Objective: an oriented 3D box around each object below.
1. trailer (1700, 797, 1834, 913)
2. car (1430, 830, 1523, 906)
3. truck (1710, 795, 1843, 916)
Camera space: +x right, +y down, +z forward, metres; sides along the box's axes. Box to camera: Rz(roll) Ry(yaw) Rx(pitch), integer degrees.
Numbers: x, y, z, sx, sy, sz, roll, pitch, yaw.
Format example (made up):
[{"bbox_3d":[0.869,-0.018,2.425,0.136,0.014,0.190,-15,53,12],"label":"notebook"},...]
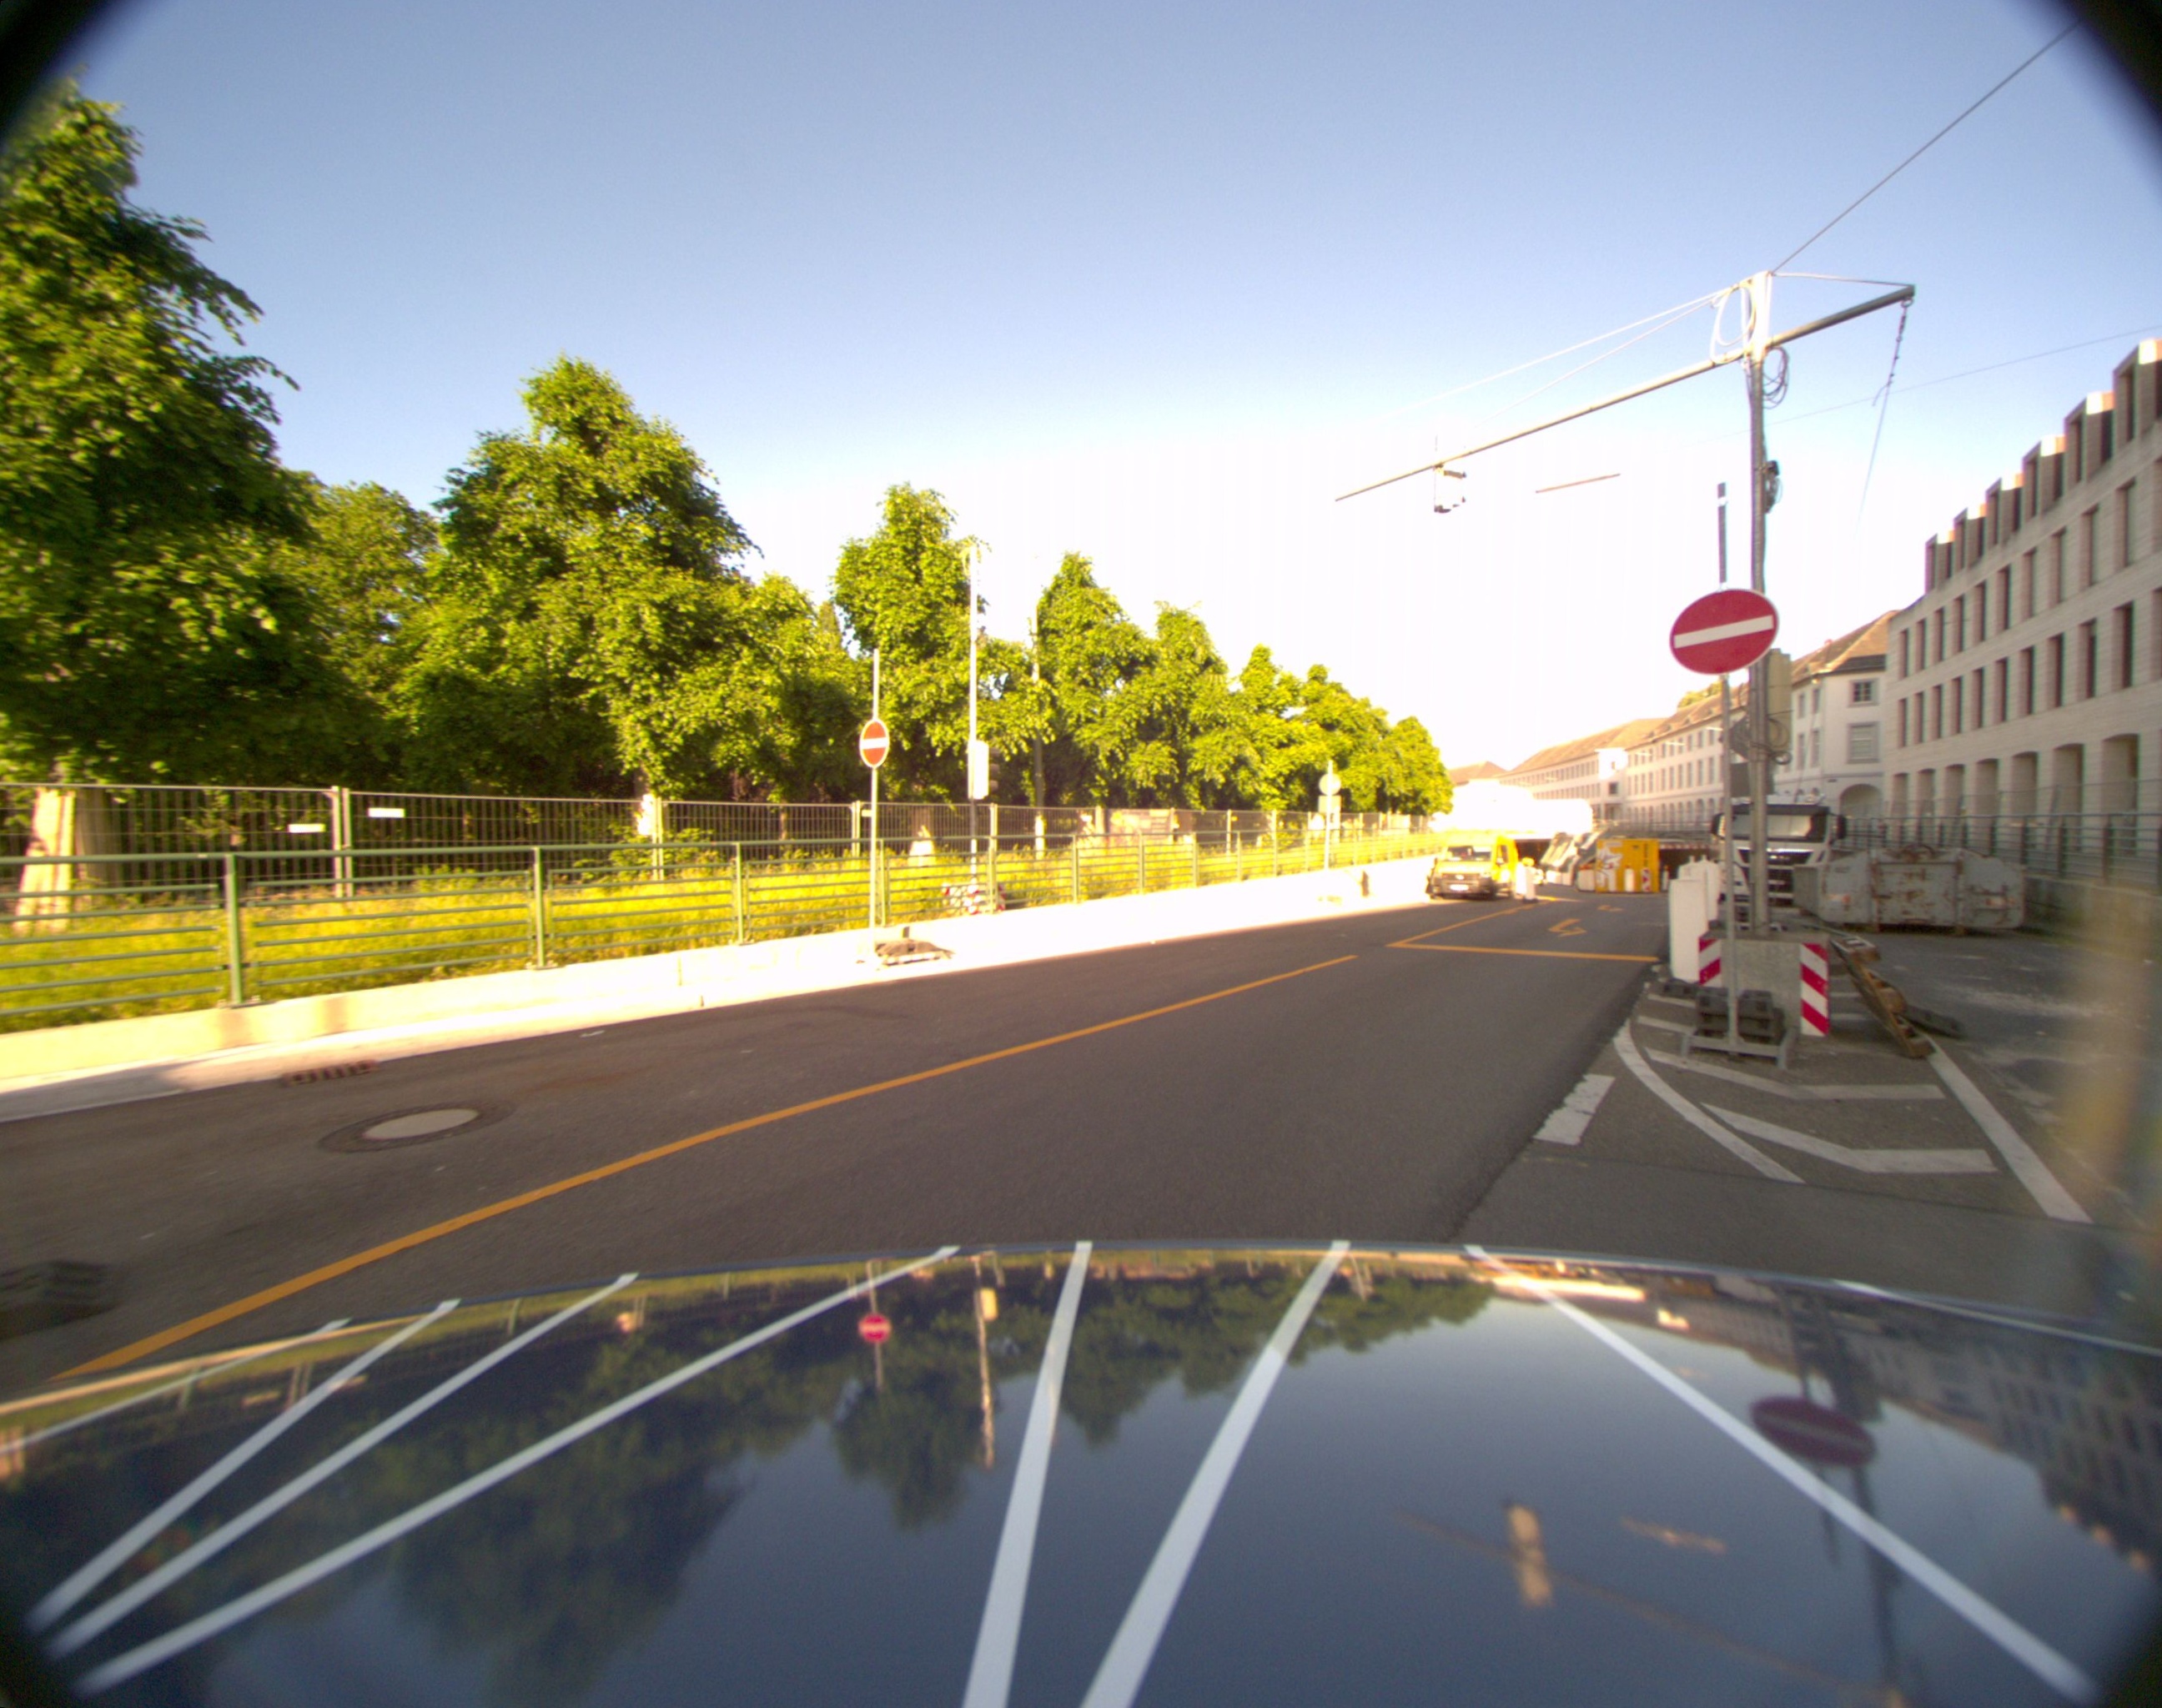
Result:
[{"bbox_3d":[25.431,0.058,28.591,2.642,3.648,8.768,5,2,36],"label":"trailer"},{"bbox_3d":[15.518,0.544,29.533,2.112,2.609,7.002,0,-1,37],"label":"car"},{"bbox_3d":[22.623,0.029,25.005,2.579,3.470,5.829,5,2,38],"label":"truck"}]
